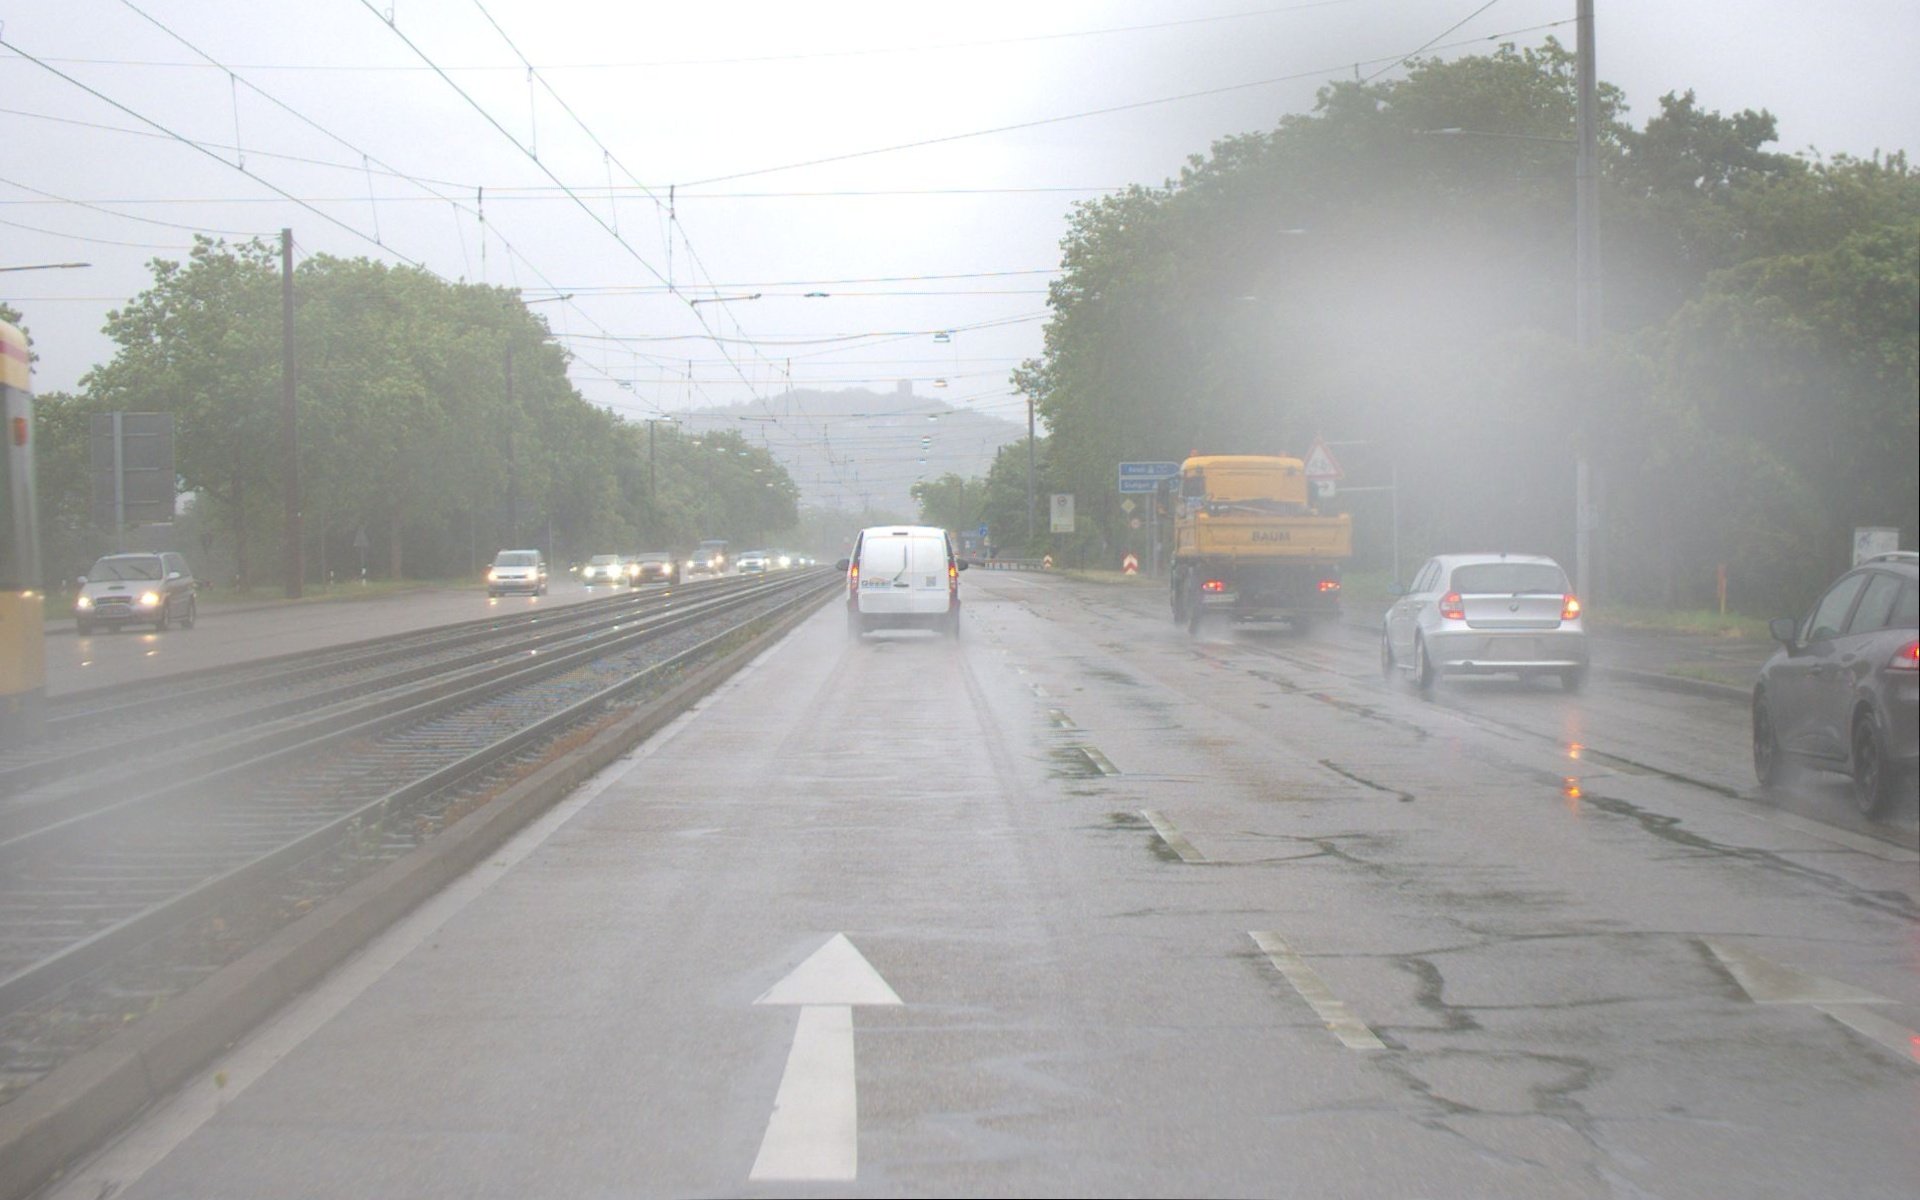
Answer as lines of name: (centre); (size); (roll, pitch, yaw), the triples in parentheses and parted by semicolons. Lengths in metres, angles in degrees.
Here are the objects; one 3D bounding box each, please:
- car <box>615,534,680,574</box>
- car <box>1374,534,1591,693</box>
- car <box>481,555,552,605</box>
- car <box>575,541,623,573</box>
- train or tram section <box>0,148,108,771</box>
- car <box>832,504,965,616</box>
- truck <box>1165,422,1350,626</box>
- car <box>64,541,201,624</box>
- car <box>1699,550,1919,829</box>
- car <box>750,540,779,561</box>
car: (-13.040, -1.940, 143.530); (1.994, 1.459, 5.251); (-3, 2, 2)
car: (5.466, 0.090, 36.437); (1.626, 1.498, 4.606); (1, 2, 1)
car: (-15.150, -0.704, 117.652); (1.842, 1.568, 5.067); (1, 2, -1)
car: (-16.749, -2.002, 159.777); (1.757, 1.358, 5.072); (1, 2, -1)
train or tram section: (-6.992, -0.614, 13.440); (2.886, 3.692, 19.532); (1, 2, -1)
car: (-0.929, -0.663, 54.279); (1.989, 1.678, 3.740); (1, 2, 0)
truck: (4.995, -1.333, 58.790); (2.555, 3.246, 6.933); (1, 2, 0)
car: (-17.883, -0.415, 74.502); (1.825, 1.629, 5.137); (1, 2, -1)
car: (5.654, 0.437, 19.759); (1.888, 1.352, 4.277); (1, 2, 0)
car: (-13.451, -3.395, 236.402); (1.741, 1.349, 4.546); (1, 2, -1)
